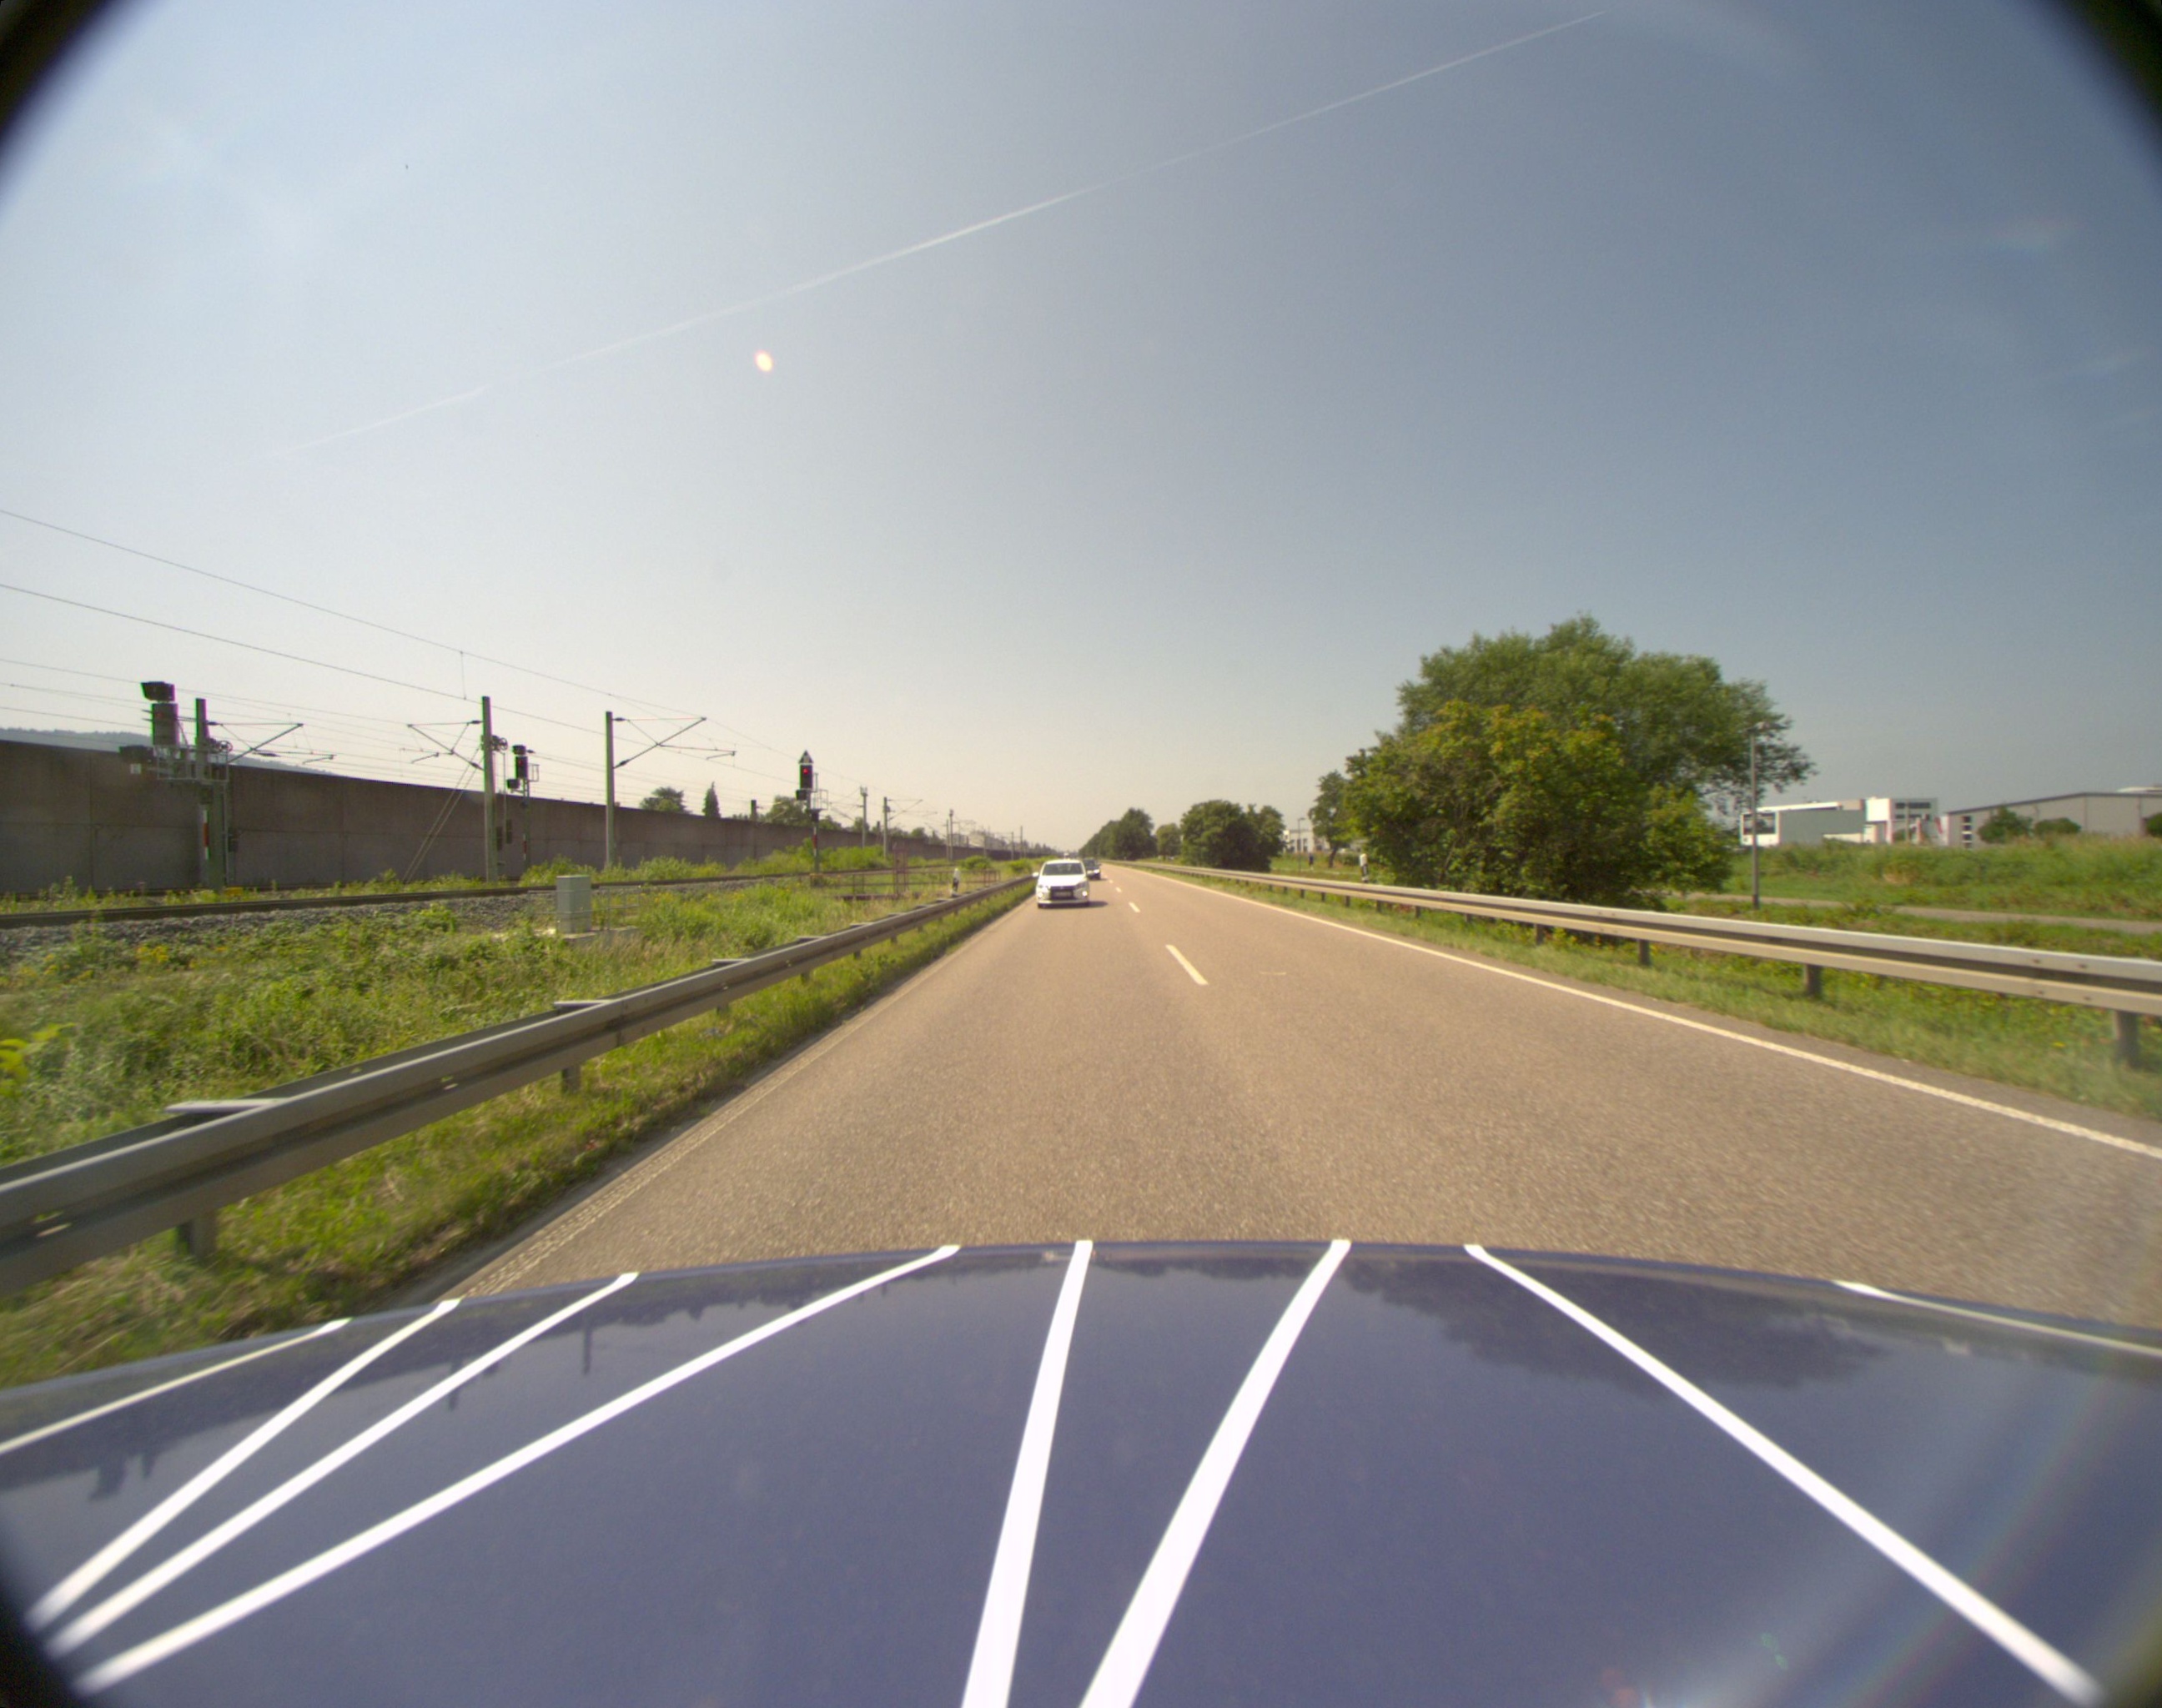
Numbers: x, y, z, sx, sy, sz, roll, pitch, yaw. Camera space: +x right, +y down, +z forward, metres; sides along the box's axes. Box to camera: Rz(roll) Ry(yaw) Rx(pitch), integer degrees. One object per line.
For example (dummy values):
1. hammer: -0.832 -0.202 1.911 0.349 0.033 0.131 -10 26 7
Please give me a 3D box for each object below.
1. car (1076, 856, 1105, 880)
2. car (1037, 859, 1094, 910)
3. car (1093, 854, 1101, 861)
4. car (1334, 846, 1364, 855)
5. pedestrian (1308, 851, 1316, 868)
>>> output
1. car: 0.594 0.897 51.060 1.711 1.470 4.154 -2 0 -2
2. car: -0.517 0.949 25.042 1.701 1.470 4.154 -2 0 -2
3. car: 3.692 0.801 178.761 1.702 1.466 4.686 -2 0 0
4. car: 43.373 -0.626 122.927 4.239 1.428 1.623 0 0 -7
5. pedestrian: 23.366 0.553 76.984 0.580 1.740 0.821 0 1 5
